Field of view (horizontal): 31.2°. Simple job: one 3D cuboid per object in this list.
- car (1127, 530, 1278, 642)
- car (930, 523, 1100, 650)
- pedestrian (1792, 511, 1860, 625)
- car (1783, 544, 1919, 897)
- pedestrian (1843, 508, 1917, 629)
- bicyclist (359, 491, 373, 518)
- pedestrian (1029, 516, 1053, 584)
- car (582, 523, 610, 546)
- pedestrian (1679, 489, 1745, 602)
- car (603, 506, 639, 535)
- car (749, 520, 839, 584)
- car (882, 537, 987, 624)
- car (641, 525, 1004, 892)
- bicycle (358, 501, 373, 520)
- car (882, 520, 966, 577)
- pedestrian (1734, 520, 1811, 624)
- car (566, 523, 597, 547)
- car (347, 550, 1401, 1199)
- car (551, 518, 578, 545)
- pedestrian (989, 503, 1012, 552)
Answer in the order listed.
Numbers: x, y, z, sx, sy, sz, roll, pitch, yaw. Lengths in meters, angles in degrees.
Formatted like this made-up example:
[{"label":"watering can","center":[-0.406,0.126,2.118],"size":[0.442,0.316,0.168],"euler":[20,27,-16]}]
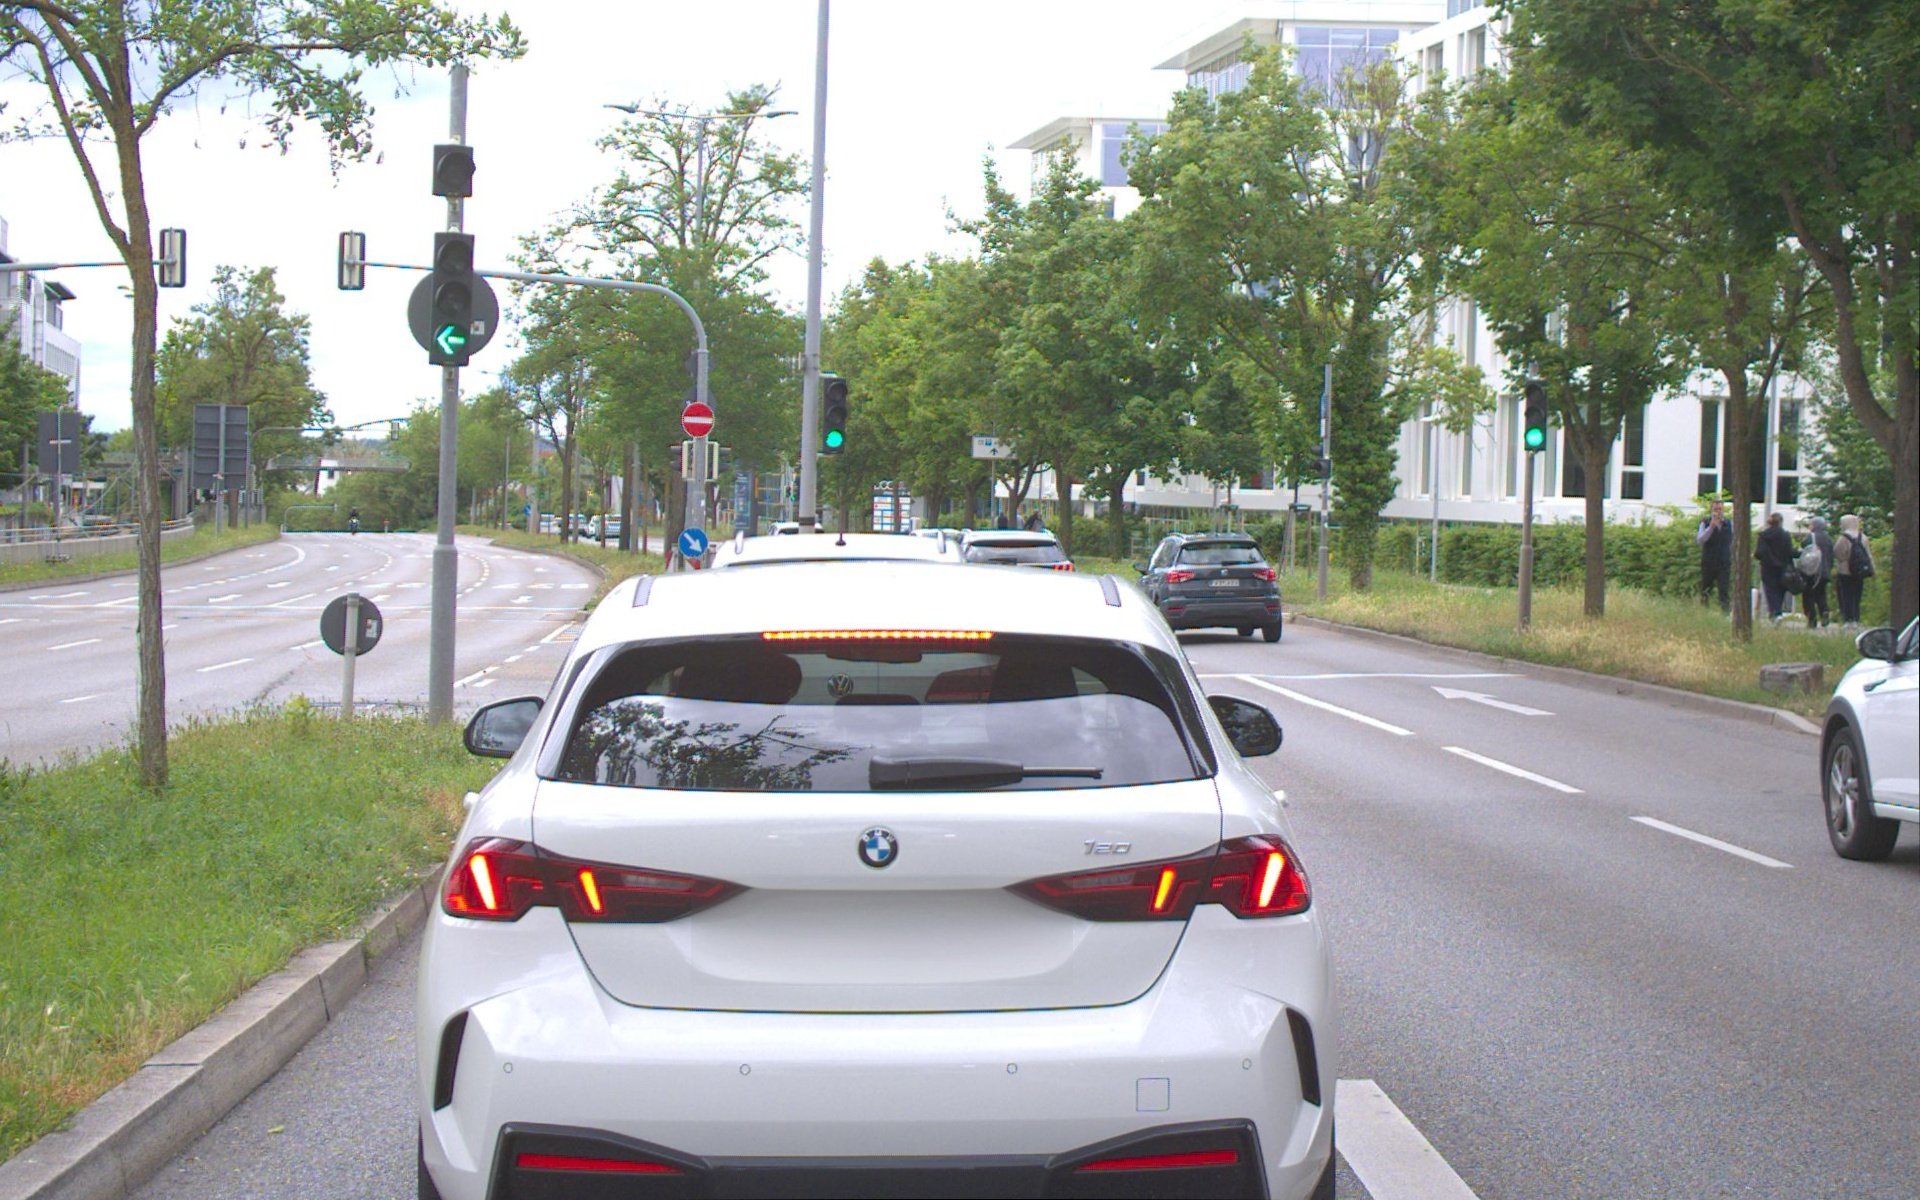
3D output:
[{"label":"car","center":[3.398,-0.205,48.806],"size":[1.657,1.507,4.000],"euler":[1,0,-3]},{"label":"car","center":[0.675,-0.210,45.357],"size":[1.854,1.590,4.314],"euler":[0,1,-4]},{"label":"pedestrian","center":[12.254,-0.456,48.665],"size":[0.699,1.590,0.883],"euler":[1,0,-1]},{"label":"car","center":[5.094,0.542,15.126],"size":[1.715,1.550,4.090],"euler":[1,1,-4]},{"label":"pedestrian","center":[13.026,-0.446,48.691],"size":[0.767,1.679,0.883],"euler":[1,0,-1]},{"label":"bicyclist","center":[-36.131,-5.795,209.111],"size":[0.810,1.647,1.189],"euler":[1,0,-8]},{"label":"pedestrian","center":[3.119,-1.927,132.268],"size":[0.831,2.618,0.646],"euler":[1,1,-1]},{"label":"car","center":[-24.166,-4.358,228.171],"size":[1.692,1.481,3.694],"euler":[1,1,-9]},{"label":"pedestrian","center":[10.495,-0.759,48.015],"size":[0.741,1.568,0.674],"euler":[1,0,-1]},{"label":"car","center":[-20.103,-4.690,203.911],"size":[1.993,1.664,4.001],"euler":[-1,1,-8]},{"label":"car","center":[-4.336,-1.264,89.464],"size":[1.891,1.590,4.315],"euler":[1,1,-8]},{"label":"car","center":[-0.477,-0.367,60.776],"size":[1.605,1.463,3.676],"euler":[1,1,-4]},{"label":"car","center":[-0.620,0.438,16.986],"size":[1.549,1.563,4.000],"euler":[1,1,-1]},{"label":"bicycle","center":[-36.129,-5.439,209.046],"size":[0.810,1.100,2.557],"euler":[1,1,-8]},{"label":"car","center":[-0.935,-1.314,87.412],"size":[1.653,1.420,3.536],"euler":[0,1,-9]},{"label":"pedestrian","center":[11.479,-0.393,48.608],"size":[0.789,1.443,1.112],"euler":[1,0,-1]},{"label":"car","center":[-27.656,-4.740,250.961],"size":[1.993,1.726,4.001],"euler":[1,1,-10]},{"label":"car","center":[-0.174,0.629,8.028],"size":[1.822,1.433,4.000],"euler":[1,1,-1]},{"label":"car","center":[-26.333,-4.571,228.872],"size":[1.695,1.711,4.001],"euler":[1,1,-7]},{"label":"pedestrian","center":[1.652,-2.958,140.314],"size":[0.762,2.007,0.754],"euler":[1,0,-15]}]
